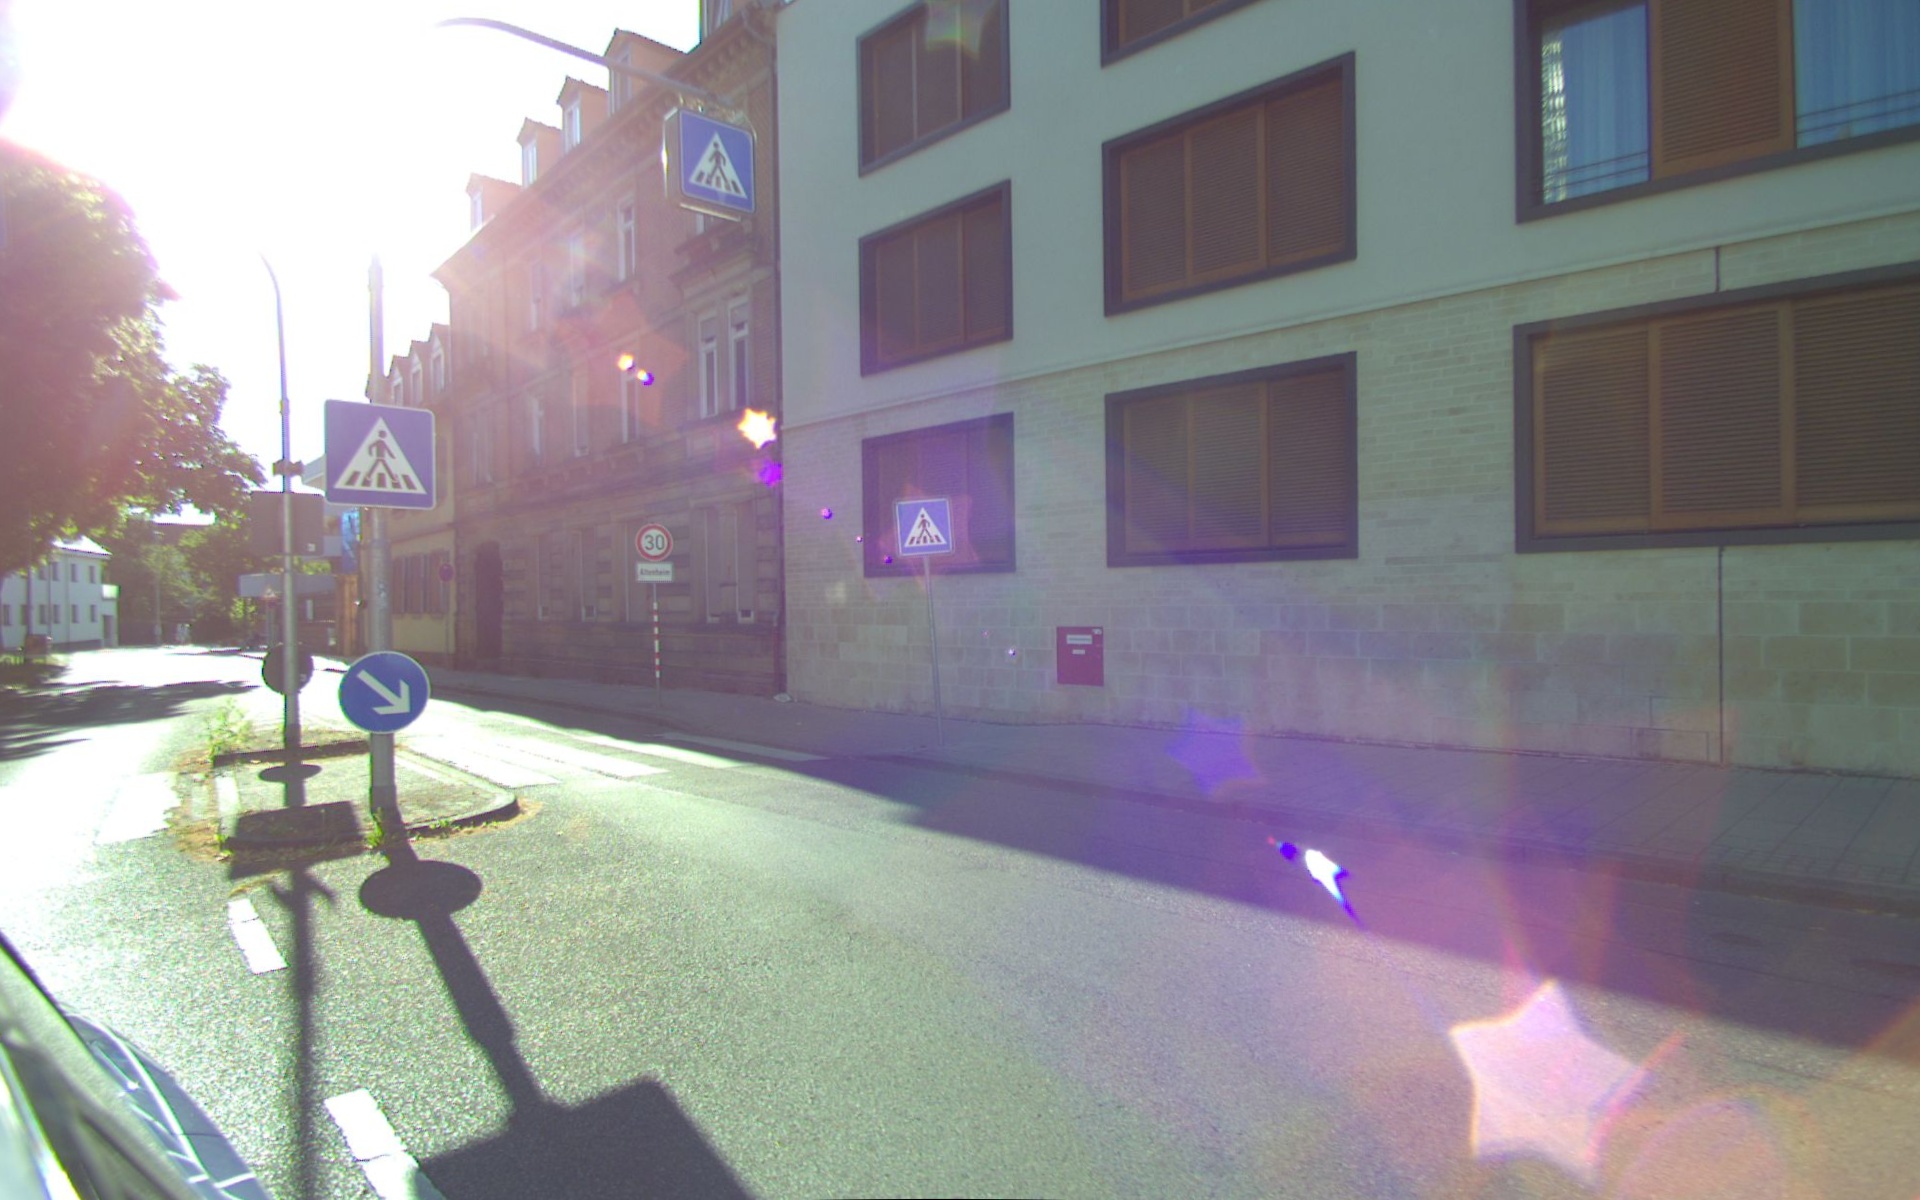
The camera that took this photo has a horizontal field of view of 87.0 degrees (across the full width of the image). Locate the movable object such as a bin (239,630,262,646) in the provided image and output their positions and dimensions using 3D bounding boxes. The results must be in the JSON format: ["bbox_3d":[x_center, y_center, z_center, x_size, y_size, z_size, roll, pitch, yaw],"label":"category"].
[{"bbox_3d":[-46.166,2.467,65.872,0.840,0.935,1.024,-2,2,42],"label":"movable object such as a bin"}]

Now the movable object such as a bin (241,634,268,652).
[{"bbox_3d":[-42.162,2.559,60.513,1.022,0.935,0.842,-3,1,-7],"label":"movable object such as a bin"}]

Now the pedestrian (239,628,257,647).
[{"bbox_3d":[-46.287,2.438,65.751,0.840,1.194,0.733,-2,2,42],"label":"pedestrian"}]

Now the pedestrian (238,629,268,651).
[{"bbox_3d":[-42.253,2.394,60.506,1.140,1.238,0.842,-3,1,-7],"label":"pedestrian"}]
